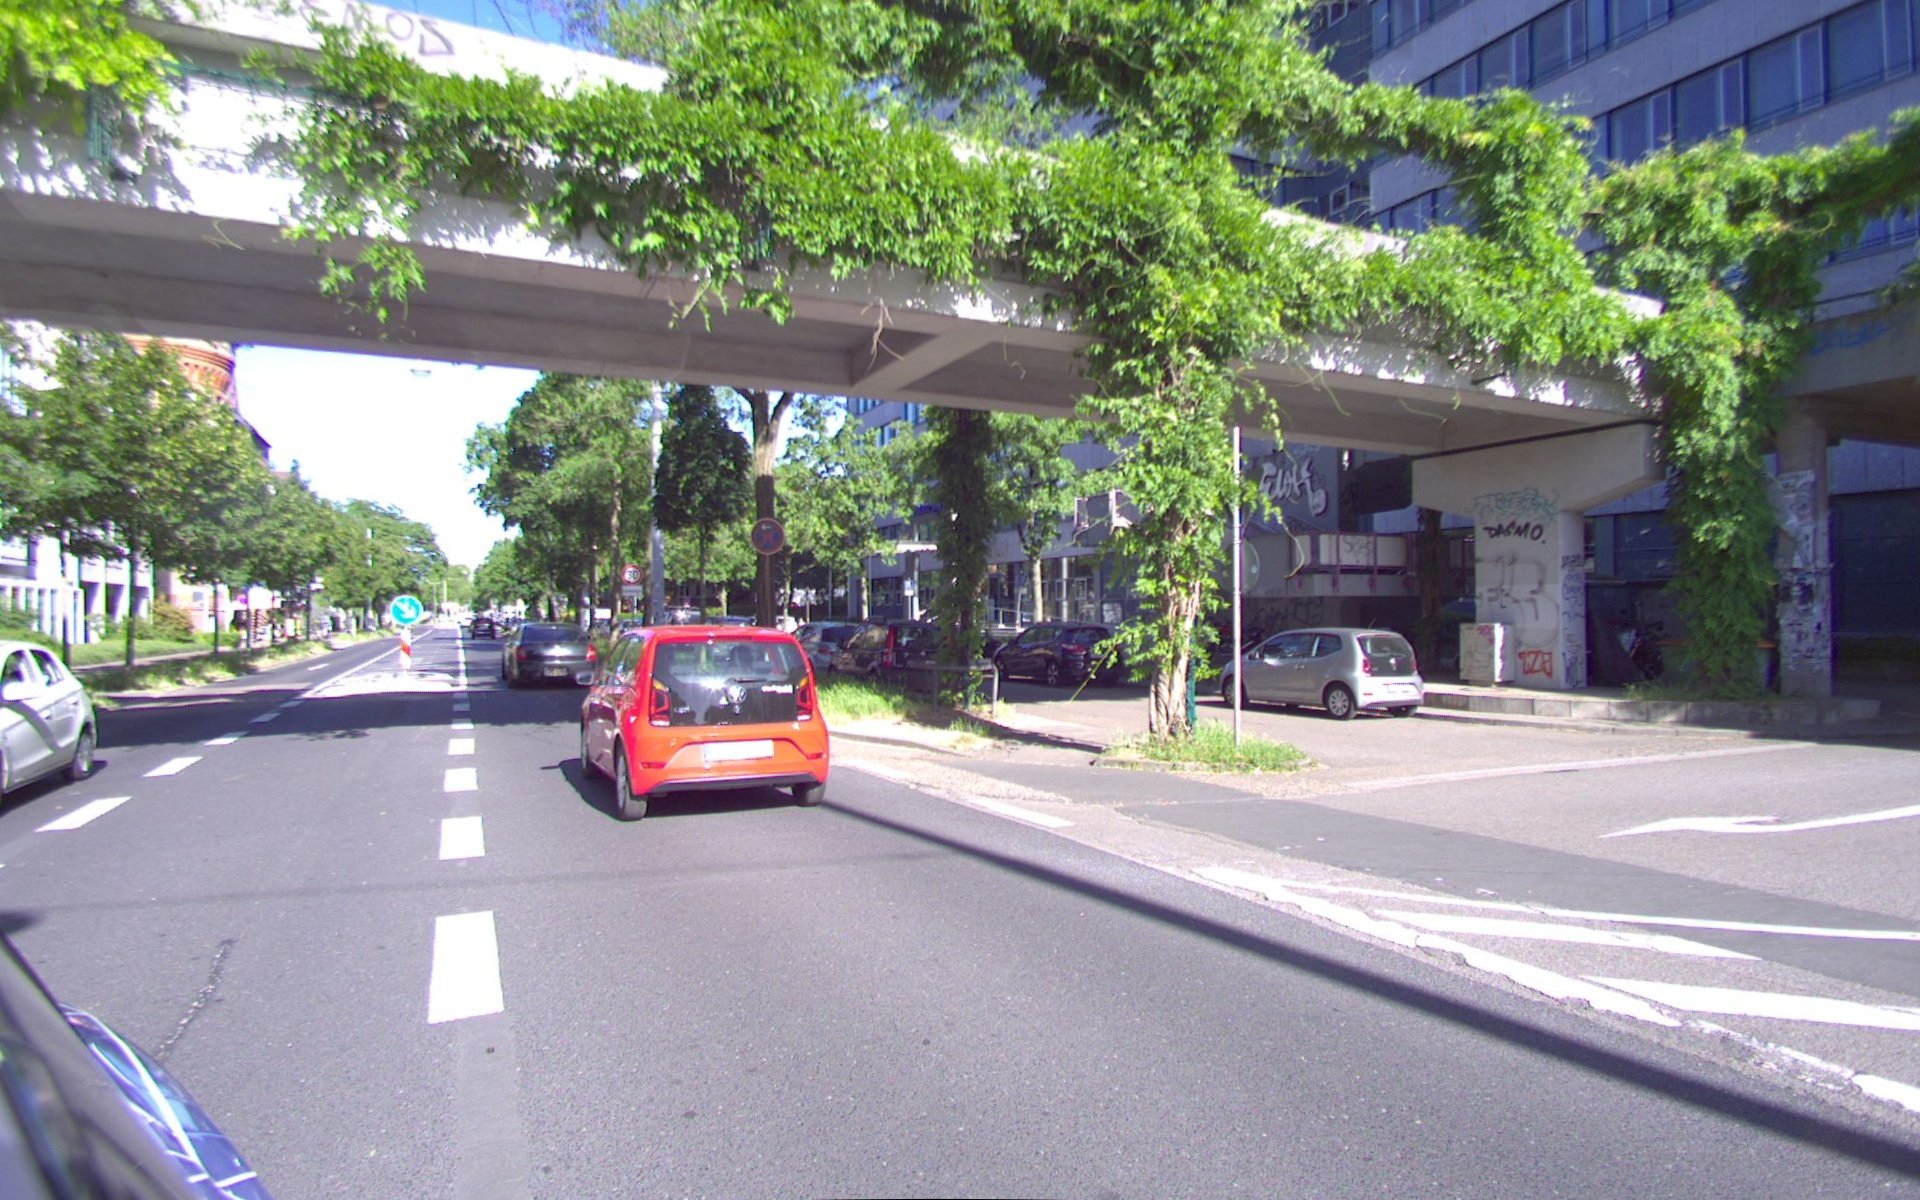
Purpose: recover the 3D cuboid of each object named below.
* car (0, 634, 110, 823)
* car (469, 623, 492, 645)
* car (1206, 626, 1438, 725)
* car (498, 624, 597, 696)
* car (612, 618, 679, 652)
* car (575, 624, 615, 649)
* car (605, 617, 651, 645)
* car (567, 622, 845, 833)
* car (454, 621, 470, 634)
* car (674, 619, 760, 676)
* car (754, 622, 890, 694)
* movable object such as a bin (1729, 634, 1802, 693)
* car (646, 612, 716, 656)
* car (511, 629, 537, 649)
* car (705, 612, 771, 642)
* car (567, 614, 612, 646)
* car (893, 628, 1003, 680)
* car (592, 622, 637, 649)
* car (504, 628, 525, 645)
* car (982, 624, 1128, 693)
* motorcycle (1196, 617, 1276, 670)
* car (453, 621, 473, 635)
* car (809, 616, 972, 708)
[{"bbox_3d":[-9.191,1.107,8.990,1.636,1.541,4.112,0,-1,-27],"label":"car"},{"bbox_3d":[-34.133,2.381,71.971,1.446,1.539,2.825,1,-1,-26],"label":"car"},{"bbox_3d":[6.119,1.213,17.510,1.583,1.497,3.660,0,-1,-27],"label":"car"},{"bbox_3d":[-9.727,1.315,23.652,1.839,1.469,4.608,1,-1,-26],"label":"car"},{"bbox_3d":[-13.889,1.506,44.579,1.692,1.394,4.505,0,-1,-33],"label":"car"},{"bbox_3d":[-20.955,2.040,58.005,1.652,1.343,4.202,0,-1,-26],"label":"car"},{"bbox_3d":[-15.994,1.466,48.658,1.628,1.236,3.859,0,-1,-26],"label":"car"},{"bbox_3d":[-2.402,0.922,8.915,1.628,1.439,3.518,0,-1,-27],"label":"car"},{"bbox_3d":[-63.209,3.442,128.521,1.762,1.596,4.202,0,-1,-27],"label":"car"},{"bbox_3d":[-7.687,1.429,31.740,1.748,1.659,4.096,0,-1,-26],"label":"car"},{"bbox_3d":[-3.257,1.272,23.198,1.629,1.459,4.296,4,-3,-28],"label":"car"},{"bbox_3d":[13.030,1.019,16.386,0.630,0.912,0.721,0,-1,-28],"label":"movable object such as a bin"},{"bbox_3d":[-10.802,1.276,38.972,1.705,1.561,4.463,0,-1,-27],"label":"car"},{"bbox_3d":[-34.903,3.097,80.986,1.712,1.501,4.013,0,-1,-26],"label":"car"},{"bbox_3d":[-14.611,1.743,66.579,3.931,1.726,1.711,-3,0,-21],"label":"car"},{"bbox_3d":[-23.058,1.841,62.942,2.036,1.923,4.540,0,-1,-28],"label":"car"},{"bbox_3d":[-0.426,1.554,30.097,1.657,1.414,3.813,1,-1,-30],"label":"car"},{"bbox_3d":[-18.306,1.865,53.517,1.629,1.354,3.982,0,-1,-28],"label":"car"},{"bbox_3d":[-40.115,3.290,91.159,1.579,1.425,4.013,0,-1,-26],"label":"car"},{"bbox_3d":[2.243,1.367,25.021,1.708,1.541,4.013,1,-1,-27],"label":"car"},{"bbox_3d":[6.900,1.063,25.446,0.719,1.280,2.060,0,-1,-28],"label":"motorcycle"},{"bbox_3d":[-50.861,2.858,103.523,1.762,1.433,4.202,1,-2,-27],"label":"car"},{"bbox_3d":[-1.428,1.121,19.286,1.715,1.550,3.791,3,-2,-26],"label":"car"}]
